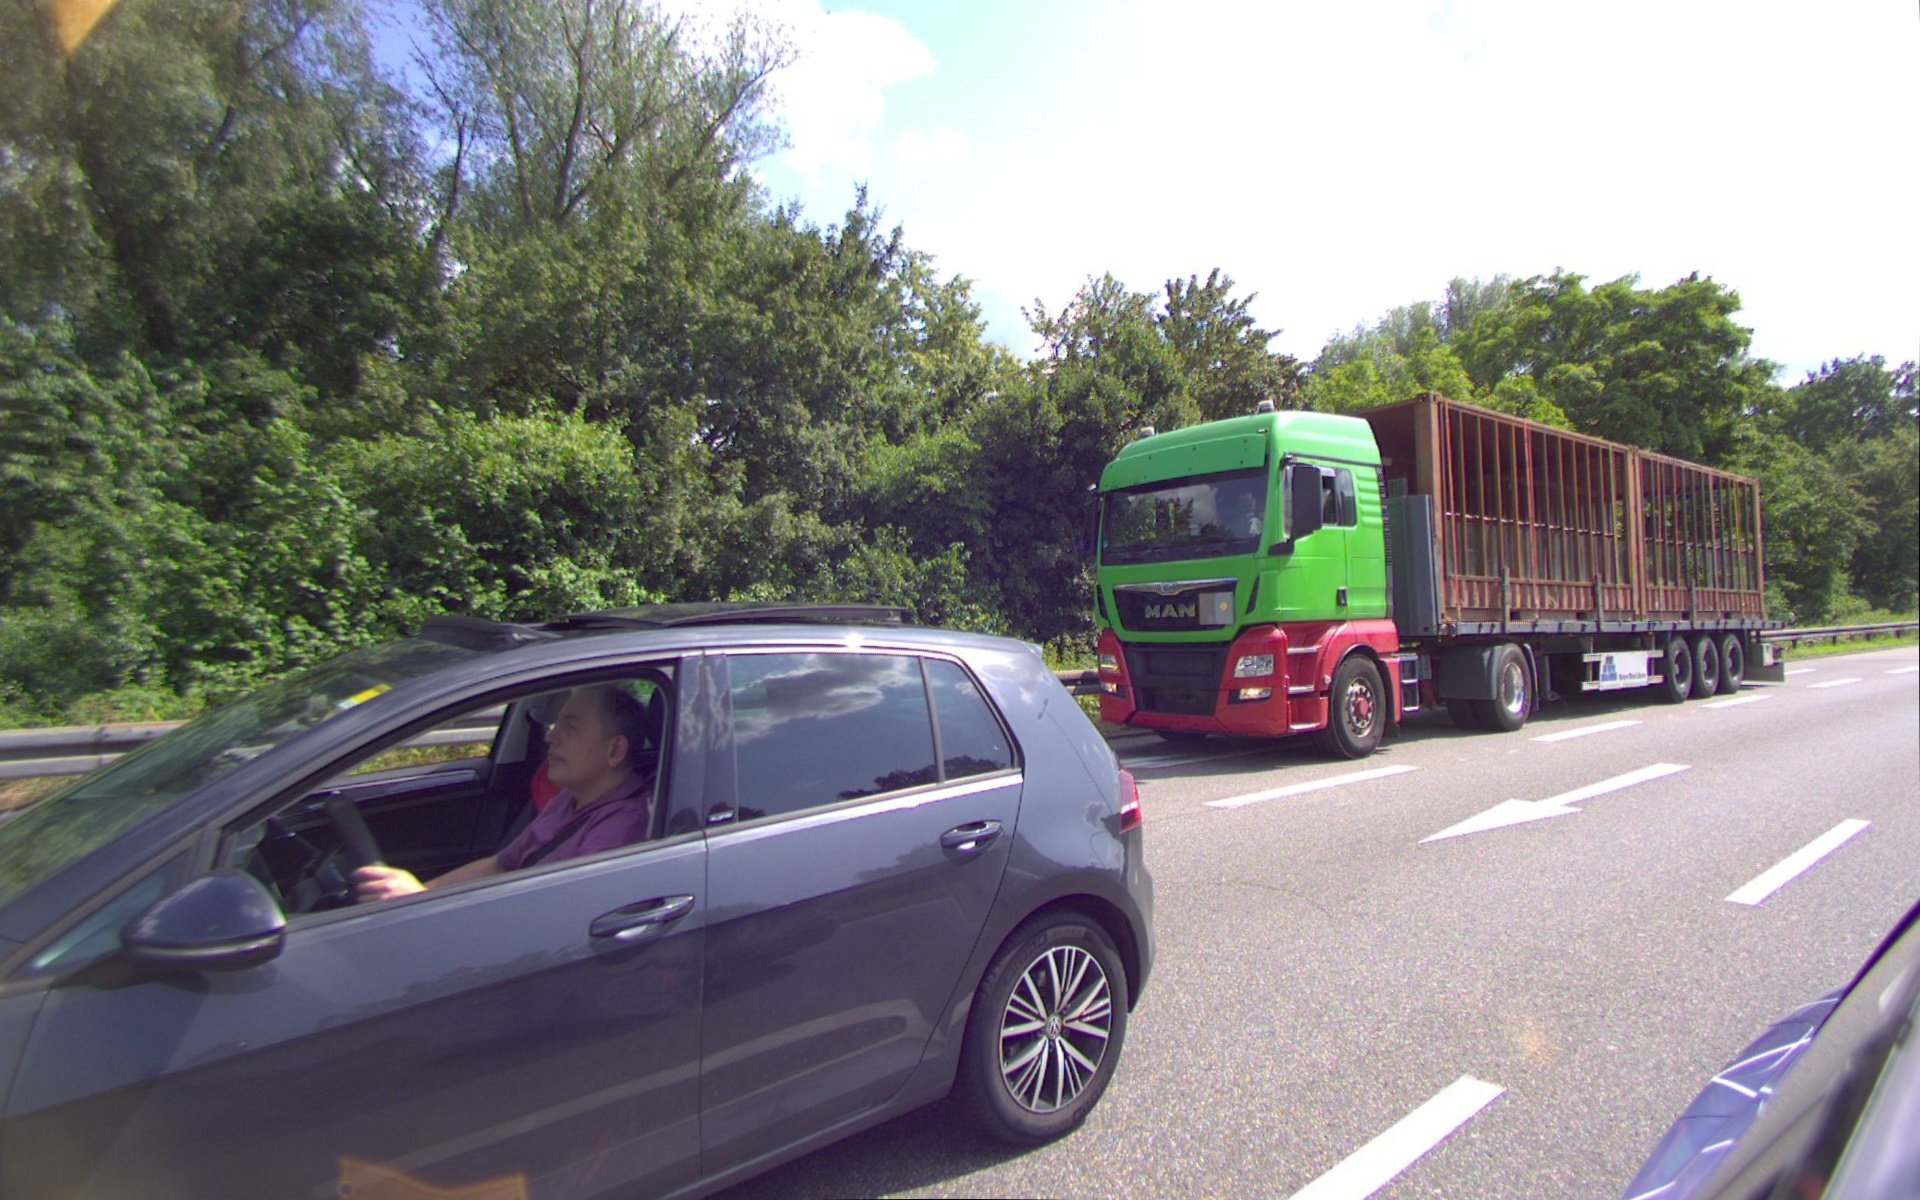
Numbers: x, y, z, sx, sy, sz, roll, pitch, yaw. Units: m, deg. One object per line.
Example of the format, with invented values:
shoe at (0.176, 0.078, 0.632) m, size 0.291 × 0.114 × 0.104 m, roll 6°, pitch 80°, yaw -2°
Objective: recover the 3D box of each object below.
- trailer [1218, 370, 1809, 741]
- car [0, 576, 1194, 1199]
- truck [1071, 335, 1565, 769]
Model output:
trailer at (9.751, -0.428, 16.108) m, size 14.233 × 3.944 × 2.591 m, roll 0°, pitch -3°, yaw -38°
car at (-1.367, 0.725, 2.501) m, size 3.974 × 1.495 × 1.735 m, roll 0°, pitch -1°, yaw -39°
truck at (4.421, -0.403, 12.019) m, size 5.949 × 3.945 × 2.591 m, roll 0°, pitch -3°, yaw -37°
